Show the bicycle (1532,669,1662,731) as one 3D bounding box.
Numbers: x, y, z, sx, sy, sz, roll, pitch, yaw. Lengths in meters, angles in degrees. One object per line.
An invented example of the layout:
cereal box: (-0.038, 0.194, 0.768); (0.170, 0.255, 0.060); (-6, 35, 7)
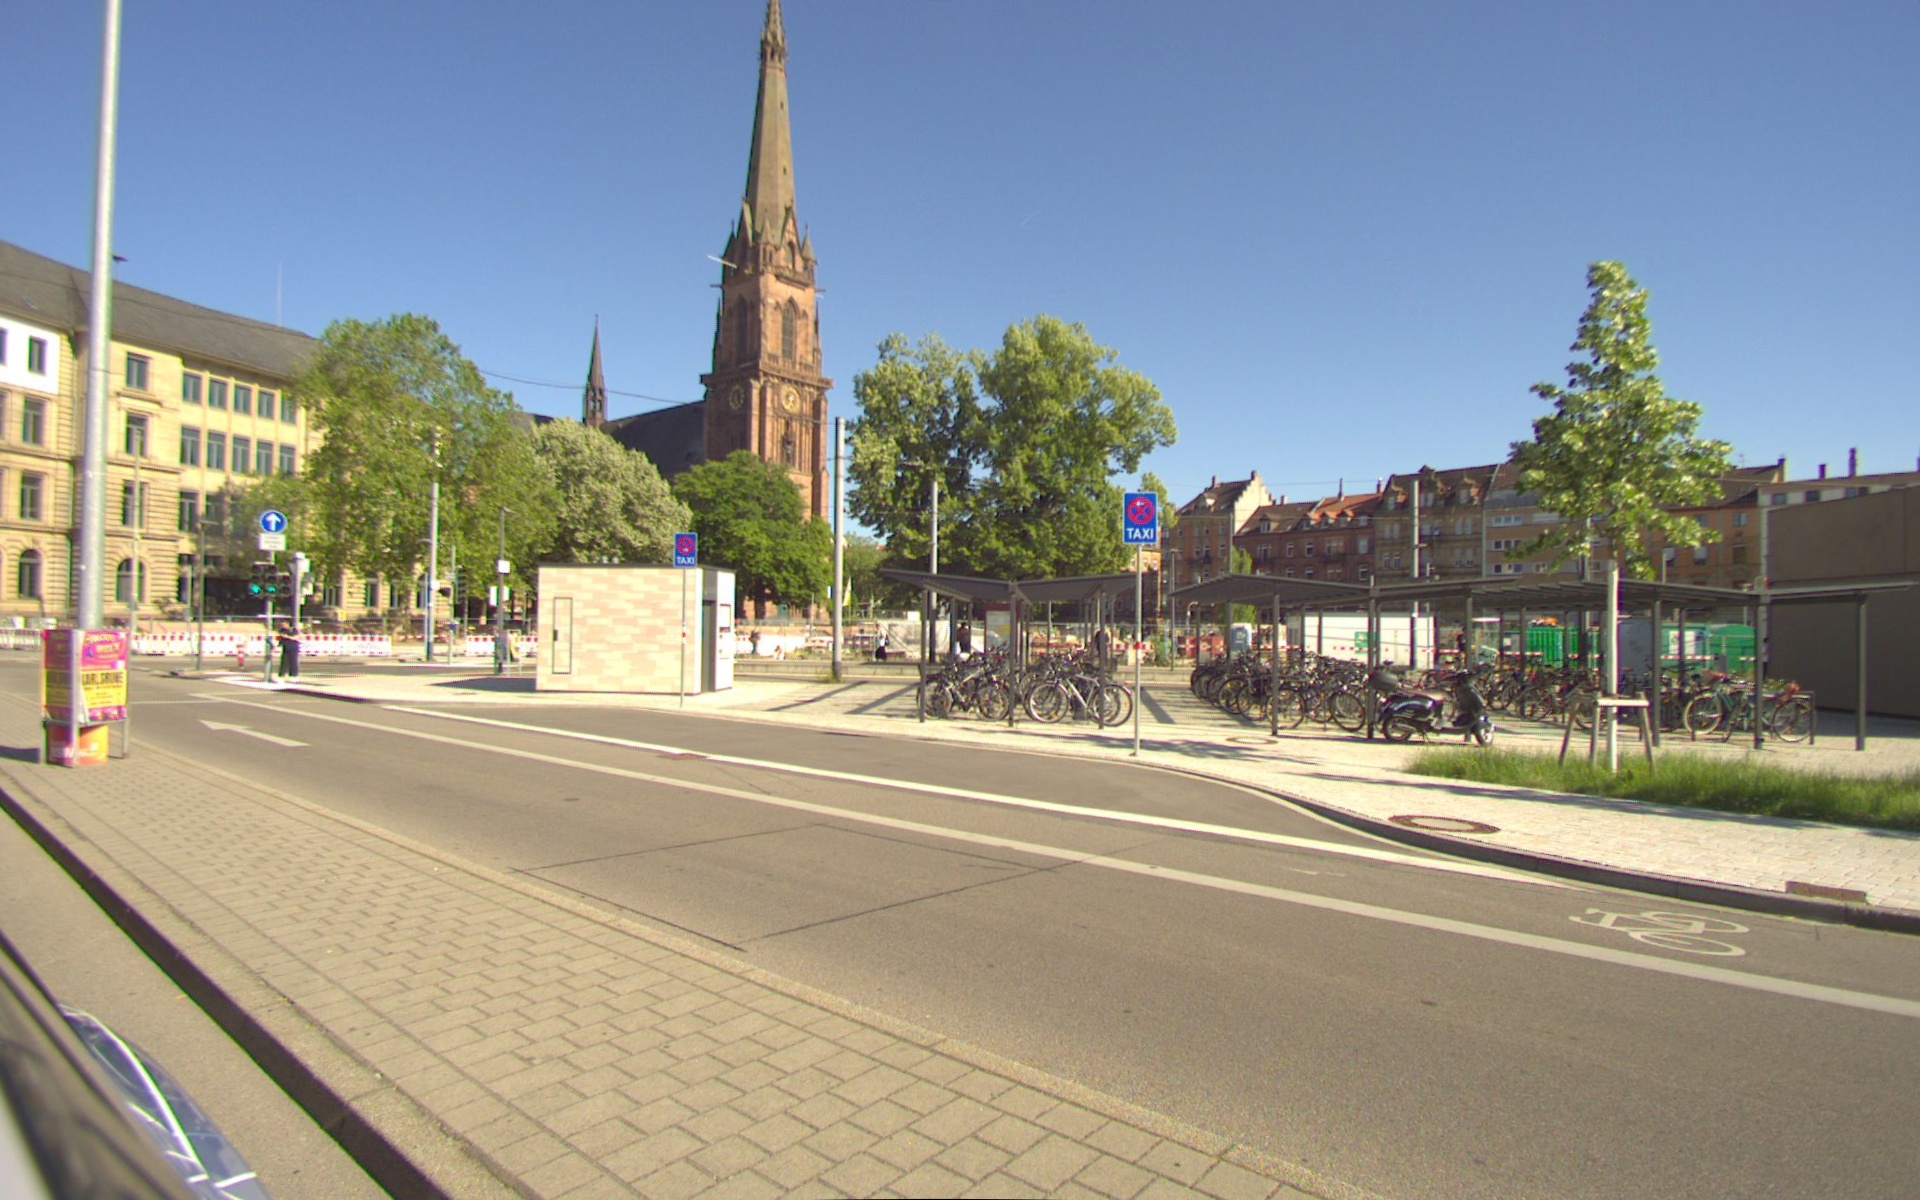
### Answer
bicycle: (11.093, 1.732, 17.653); (1.882, 1.016, 0.456); (0, -2, 8)

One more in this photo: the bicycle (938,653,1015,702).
bicycle: (0.363, 1.690, 22.234); (1.652, 1.016, 0.456); (0, -2, 8)

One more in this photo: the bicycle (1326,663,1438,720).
bicycle: (7.910, 1.712, 19.007); (1.882, 1.016, 0.456); (0, -2, 8)

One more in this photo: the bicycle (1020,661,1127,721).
bicycle: (2.047, 1.633, 18.271); (1.882, 1.016, 0.456); (0, -2, 8)

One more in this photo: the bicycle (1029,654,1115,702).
bicycle: (2.503, 1.726, 22.544); (1.882, 1.016, 0.456); (0, -2, 8)

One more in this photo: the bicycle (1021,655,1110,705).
bicycle: (2.289, 1.722, 21.931); (1.882, 1.016, 0.456); (0, -2, 8)

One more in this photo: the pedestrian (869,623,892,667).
pedestrian: (-3.294, 1.869, 41.996); (0.792, 1.793, 0.977); (0, -2, 3)

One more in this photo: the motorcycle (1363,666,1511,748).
motorcycle: (7.154, 1.602, 15.236); (1.924, 1.160, 0.516); (0, -2, 6)

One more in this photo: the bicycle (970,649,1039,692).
bicycle: (1.099, 1.729, 24.952); (1.652, 1.016, 0.456); (0, -2, 8)

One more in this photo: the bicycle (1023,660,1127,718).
bicycle: (2.129, 1.645, 18.754); (1.882, 1.016, 0.456); (0, -2, 8)

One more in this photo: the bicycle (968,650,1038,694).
bicycle: (1.034, 1.715, 24.236); (1.652, 1.016, 0.456); (0, -2, 8)

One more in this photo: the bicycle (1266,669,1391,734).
bicycle: (6.114, 1.682, 16.850); (1.882, 1.016, 0.456); (0, -2, 8)

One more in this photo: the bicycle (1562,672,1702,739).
bicycle: (10.965, 1.717, 16.548); (1.882, 1.016, 0.456); (0, -2, 8)

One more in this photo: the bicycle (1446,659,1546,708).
bicycle: (11.776, 1.824, 22.254); (1.882, 1.016, 0.456); (0, -2, 8)

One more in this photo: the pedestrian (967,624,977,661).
pedestrian: (0.576, 1.994, 47.626); (0.399, 1.734, 0.419); (1, -2, -11)

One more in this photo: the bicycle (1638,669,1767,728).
bicycle: (13.461, 1.776, 18.375); (1.882, 1.016, 0.456); (0, -2, 8)

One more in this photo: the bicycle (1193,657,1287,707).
bicycle: (5.957, 1.747, 21.620); (1.882, 1.016, 0.456); (0, -2, 8)

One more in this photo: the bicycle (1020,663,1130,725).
bicycle: (2.011, 1.624, 17.684); (1.882, 1.016, 0.456); (0, -2, 8)

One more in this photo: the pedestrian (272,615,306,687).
pedestrian: (-17.944, 1.353, 27.071); (0.683, 1.868, 0.680); (2, -2, -37)

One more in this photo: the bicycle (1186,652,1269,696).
bicycle: (6.385, 1.762, 24.236); (1.882, 1.016, 0.456); (0, -2, 8)

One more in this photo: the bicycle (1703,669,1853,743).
bicycle: (13.074, 1.684, 16.217); (1.882, 1.106, 0.456); (0, -2, 8)

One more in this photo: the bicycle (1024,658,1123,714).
bicycle: (2.189, 1.659, 19.595); (1.882, 1.016, 0.456); (0, -2, 8)

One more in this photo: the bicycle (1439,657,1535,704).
bicycle: (12.071, 1.836, 23.205); (1.882, 1.016, 0.456); (0, -2, 8)

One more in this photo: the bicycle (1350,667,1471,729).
bicycle: (7.887, 1.709, 17.774); (1.882, 1.016, 0.456); (0, -2, 8)

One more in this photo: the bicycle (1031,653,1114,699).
bicycle: (2.598, 1.747, 23.314); (1.882, 1.016, 0.456); (0, -2, 8)

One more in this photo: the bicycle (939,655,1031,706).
bicycle: (0.535, 1.675, 21.236); (1.882, 1.016, 0.456); (0, -2, 8)

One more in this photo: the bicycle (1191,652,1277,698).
bicycle: (6.358, 1.731, 23.578); (1.882, 1.016, 0.456); (0, -2, 8)

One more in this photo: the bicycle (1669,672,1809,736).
bicycle: (13.121, 1.743, 17.076); (1.882, 1.016, 0.456); (0, -2, 8)

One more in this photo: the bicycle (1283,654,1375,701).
bicycle: (8.308, 1.735, 22.829); (1.882, 1.016, 0.456); (0, -2, 8)

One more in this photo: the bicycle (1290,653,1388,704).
bicycle: (8.049, 1.660, 21.530); (1.882, 1.016, 0.456); (0, -2, 8)

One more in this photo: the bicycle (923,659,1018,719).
bicycle: (0.193, 1.585, 18.201); (1.652, 1.016, 0.456); (0, -2, 8)

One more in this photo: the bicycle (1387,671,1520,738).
bicycle: (8.021, 1.691, 16.504); (1.882, 1.016, 0.456); (0, -2, 8)

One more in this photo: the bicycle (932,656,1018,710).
bicycle: (0.297, 1.620, 19.898); (1.652, 1.016, 0.456); (0, -2, 8)

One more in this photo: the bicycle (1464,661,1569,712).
bicycle: (11.706, 1.814, 21.324); (1.882, 1.016, 0.456); (0, -2, 8)

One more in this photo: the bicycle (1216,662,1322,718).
bicycle: (5.890, 1.708, 19.333); (1.882, 1.016, 0.456); (0, -2, 8)

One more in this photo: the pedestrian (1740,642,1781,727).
pedestrian: (19.603, 2.042, 24.782); (0.718, 2.029, 0.678); (-1, -2, 41)

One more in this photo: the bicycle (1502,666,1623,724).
bicycle: (11.156, 1.756, 18.768); (1.882, 1.016, 0.456); (0, -2, 8)

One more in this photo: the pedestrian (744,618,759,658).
pedestrian: (-11.463, 2.090, 55.664); (0.545, 2.171, 0.568); (0, -2, 15)

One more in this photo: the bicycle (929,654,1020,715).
bicycle: (0.272, 1.559, 18.787); (1.652, 1.069, 0.456); (0, -2, 8)

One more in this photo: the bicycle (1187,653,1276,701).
bicycle: (6.141, 1.738, 22.954); (1.882, 1.016, 0.456); (0, -2, 8)

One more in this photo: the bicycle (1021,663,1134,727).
bicycle: (1.982, 1.602, 17.124); (1.882, 1.016, 0.456); (0, -2, 8)

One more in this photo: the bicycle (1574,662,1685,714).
bicycle: (13.866, 1.818, 20.982); (1.882, 1.016, 0.456); (0, -2, 8)

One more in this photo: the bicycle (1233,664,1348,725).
bicycle: (5.892, 1.683, 18.103); (1.882, 1.016, 0.456); (0, -2, 8)

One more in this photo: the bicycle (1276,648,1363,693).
bicycle: (8.478, 1.652, 23.921); (1.882, 1.016, 0.456); (0, -2, 8)

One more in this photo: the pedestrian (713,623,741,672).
pedestrian: (-8.715, 1.763, 37.868); (0.792, 1.793, 0.977); (0, -2, 3)

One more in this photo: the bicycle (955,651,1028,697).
bicycle: (0.738, 1.709, 23.492); (1.652, 1.016, 0.456); (0, -2, 8)

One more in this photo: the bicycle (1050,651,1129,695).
bicycle: (3.154, 1.776, 24.609); (1.882, 1.016, 0.456); (0, -2, 8)
